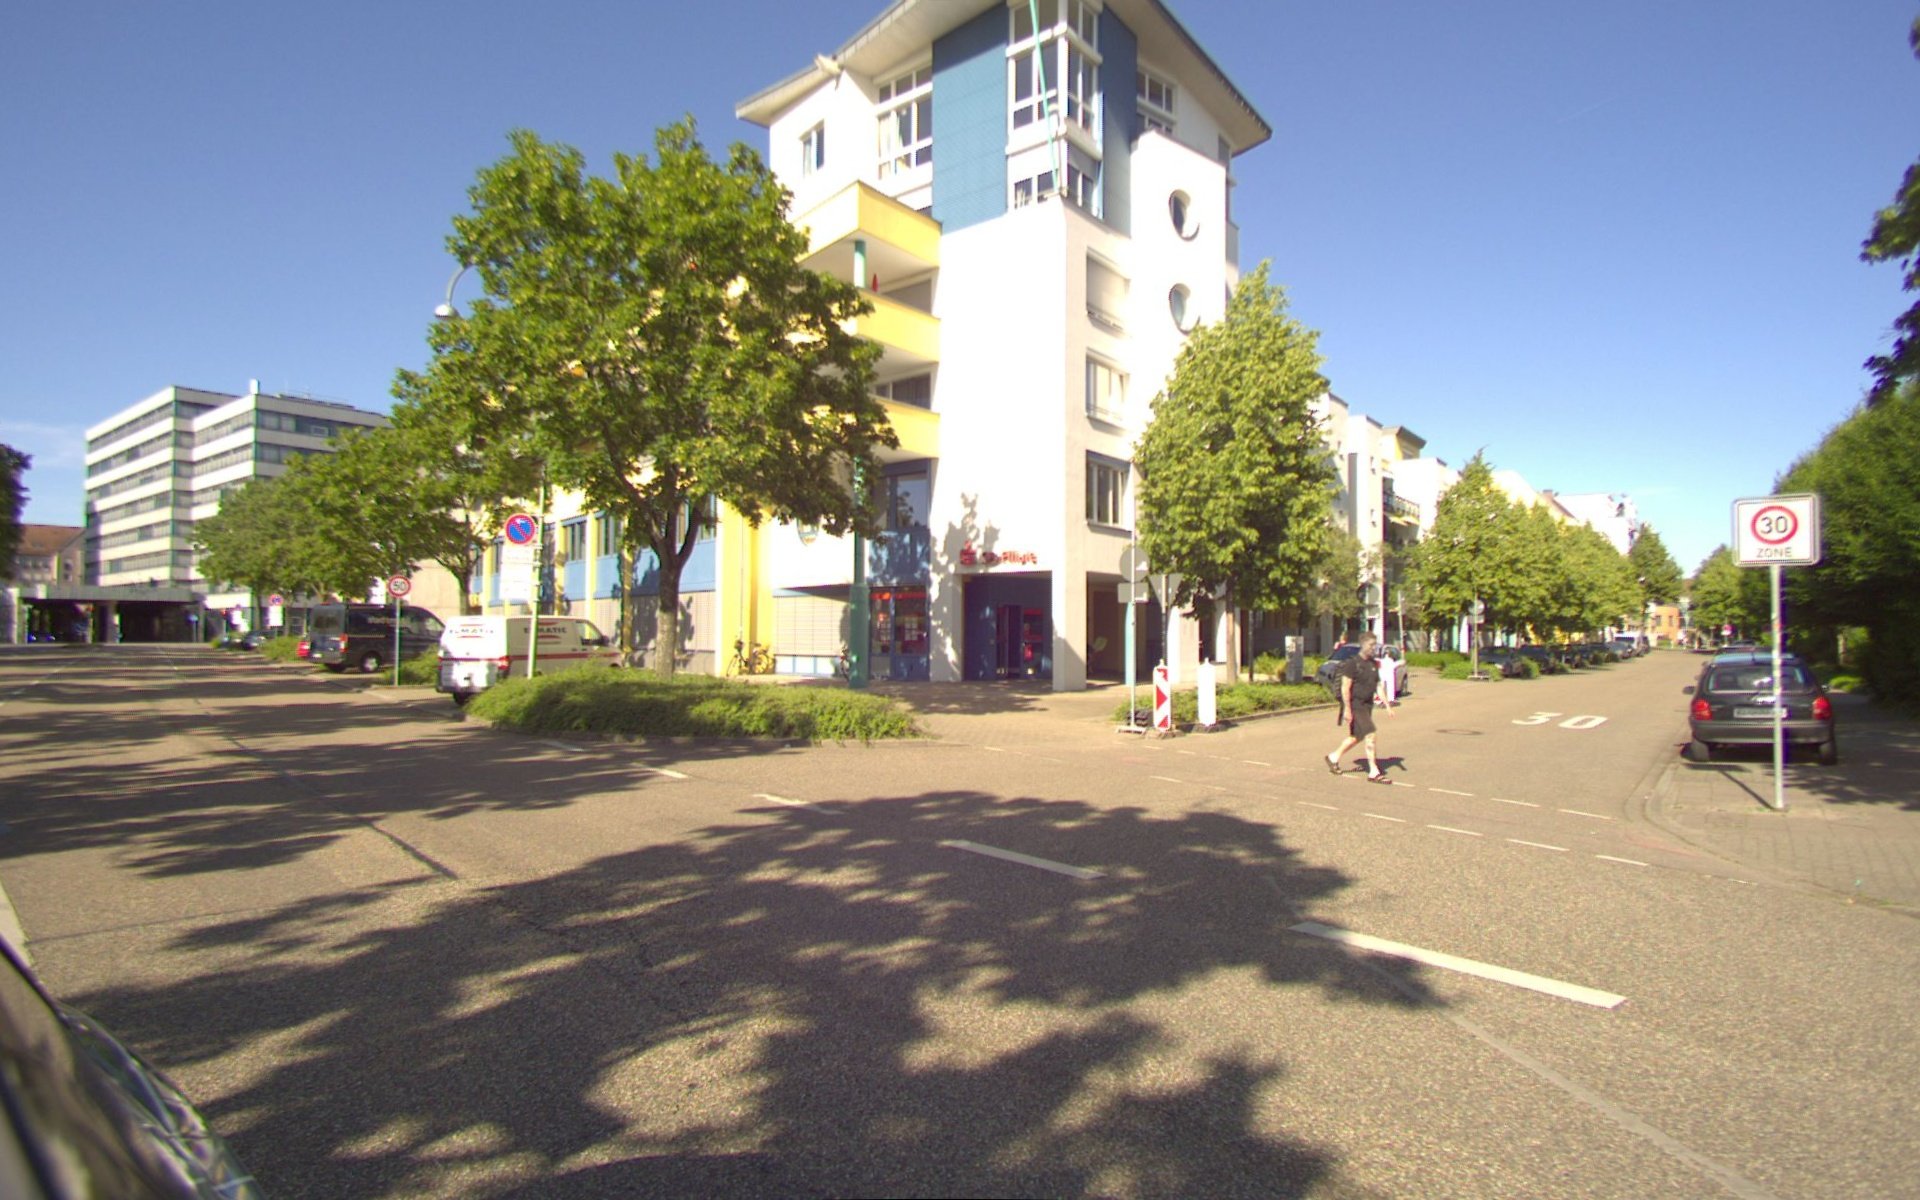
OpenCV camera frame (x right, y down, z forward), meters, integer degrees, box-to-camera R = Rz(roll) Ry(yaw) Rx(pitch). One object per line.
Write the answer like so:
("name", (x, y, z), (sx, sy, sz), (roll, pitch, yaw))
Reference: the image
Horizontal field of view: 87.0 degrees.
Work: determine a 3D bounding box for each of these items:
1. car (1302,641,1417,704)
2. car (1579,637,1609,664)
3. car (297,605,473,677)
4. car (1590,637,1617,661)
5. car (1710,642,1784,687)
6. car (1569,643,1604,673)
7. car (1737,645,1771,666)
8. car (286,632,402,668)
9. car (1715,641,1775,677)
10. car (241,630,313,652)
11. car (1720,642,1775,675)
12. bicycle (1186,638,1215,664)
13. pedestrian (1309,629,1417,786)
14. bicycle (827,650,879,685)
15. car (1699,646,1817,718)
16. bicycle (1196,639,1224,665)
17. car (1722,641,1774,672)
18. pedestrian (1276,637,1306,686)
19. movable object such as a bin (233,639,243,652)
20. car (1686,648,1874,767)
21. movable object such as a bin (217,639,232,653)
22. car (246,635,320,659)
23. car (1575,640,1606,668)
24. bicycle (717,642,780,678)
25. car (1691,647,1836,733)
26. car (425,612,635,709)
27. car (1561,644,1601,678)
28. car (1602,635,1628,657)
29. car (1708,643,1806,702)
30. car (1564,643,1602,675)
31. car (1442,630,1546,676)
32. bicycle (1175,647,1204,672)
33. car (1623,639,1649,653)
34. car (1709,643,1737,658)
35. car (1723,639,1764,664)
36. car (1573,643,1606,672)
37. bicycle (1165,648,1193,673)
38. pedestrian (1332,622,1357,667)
("car", (11.664, 2.040, 29.423), (1.997, 1.606, 4.195), (-2, -2, 38))
("car", (48.435, 3.809, 77.293), (1.840, 1.819, 3.954), (-1, 0, 33))
("car", (-21.057, 1.449, 37.369), (2.173, 2.455, 5.461), (-1, -1, 23))
("car", (53.264, 4.010, 83.727), (1.840, 1.819, 3.954), (-1, 0, 33))
("car", (28.479, 2.315, 36.678), (1.934, 1.516, 3.957), (-4, -5, 37))
("car", (40.944, 3.740, 66.115), (1.840, 1.819, 3.954), (-1, -1, 33))
("car", (58.557, 4.090, 74.699), (1.934, 1.516, 3.869), (-1, -3, 38))
("car", (-27.844, 2.224, 45.879), (1.762, 1.487, 4.194), (-2, -2, 28))
("car", (34.673, 2.591, 44.749), (1.934, 1.516, 3.869), (-4, -5, 37))
("car", (-47.909, 2.859, 71.114), (1.795, 1.475, 3.978), (-1, -1, 16))
("car", (37.558, 2.782, 48.306), (1.934, 1.516, 3.869), (-4, -5, 37))
("bicycle", (8.506, 1.809, 35.761), (0.287, 0.878, 1.781), (-1, -3, 36))
("pedestrian", (4.717, 1.216, 11.855), (1.022, 1.739, 0.649), (-1, -4, 42))
("bicycle", (-3.016, 1.900, 28.647), (0.490, 0.878, 1.785), (-1, -1, 31))
("car", (18.586, 1.875, 23.654), (1.934, 1.516, 3.957), (-4, -5, 37))
("bicycle", (8.779, 1.832, 35.548), (0.287, 0.878, 1.781), (-1, -3, 36))
("car", (40.503, 2.902, 52.057), (1.934, 1.516, 3.869), (-4, -5, 37))
("pedestrian", (10.675, 1.963, 32.646), (0.718, 1.525, 0.789), (-1, -1, 36))
("movable object such as a bin", (-56.561, 3.549, 79.312), (0.470, 0.967, 0.543), (0, -1, -11))
("car", (11.741, 1.449, 14.642), (1.801, 1.458, 3.944), (-4, -5, 37))
("movable object such as a bin", (-57.557, 3.602, 79.232), (0.665, 1.082, 0.804), (1, -2, -15))
("car", (-45.899, 3.192, 68.672), (1.795, 1.475, 3.978), (-1, -1, 16))
("car", (45.936, 3.911, 73.700), (1.840, 1.819, 3.955), (-1, 0, 33))
("bicycle", (-6.617, 1.878, 31.642), (1.775, 1.106, 0.703), (3, -4, -39))
("car", (15.463, 1.675, 19.592), (1.934, 1.461, 3.957), (-4, -5, 37))
("car", (-9.680, 1.315, 23.284), (1.981, 2.000, 4.748), (-1, -2, 15))
("car", (35.839, 3.487, 58.373), (1.840, 1.819, 3.954), (-1, -3, 33))
("car", (57.926, 4.040, 89.497), (1.840, 1.819, 3.955), (-1, 0, 33))
("car", (22.058, 1.987, 28.092), (1.934, 1.516, 3.957), (-4, -5, 37))
("car", (38.238, 3.606, 62.126), (1.840, 1.819, 3.954), (-1, -2, 33))
("car", (24.556, 2.405, 46.540), (3.992, 2.029, 1.976), (-1, -3, 36))
("bicycle", (8.165, 2.101, 35.988), (0.287, 0.878, 1.781), (-1, -3, 36))
("car", (65.938, 4.495, 98.688), (1.907, 1.379, 3.951), (-1, -3, 35))
("car", (74.287, 4.909, 98.581), (1.995, 1.441, 4.589), (-1, -2, 34))
("car", (49.320, 3.236, 63.750), (1.934, 1.516, 3.869), (-4, -5, 37))
("car", (43.493, 3.925, 69.882), (1.840, 1.819, 3.954), (-1, -1, 33))
("bicycle", (7.860, 2.166, 36.269), (0.287, 0.878, 1.781), (-1, -3, 36))
("pedestrian", (12.991, 1.485, 34.184), (0.679, 1.500, 0.838), (-1, -3, 30))
